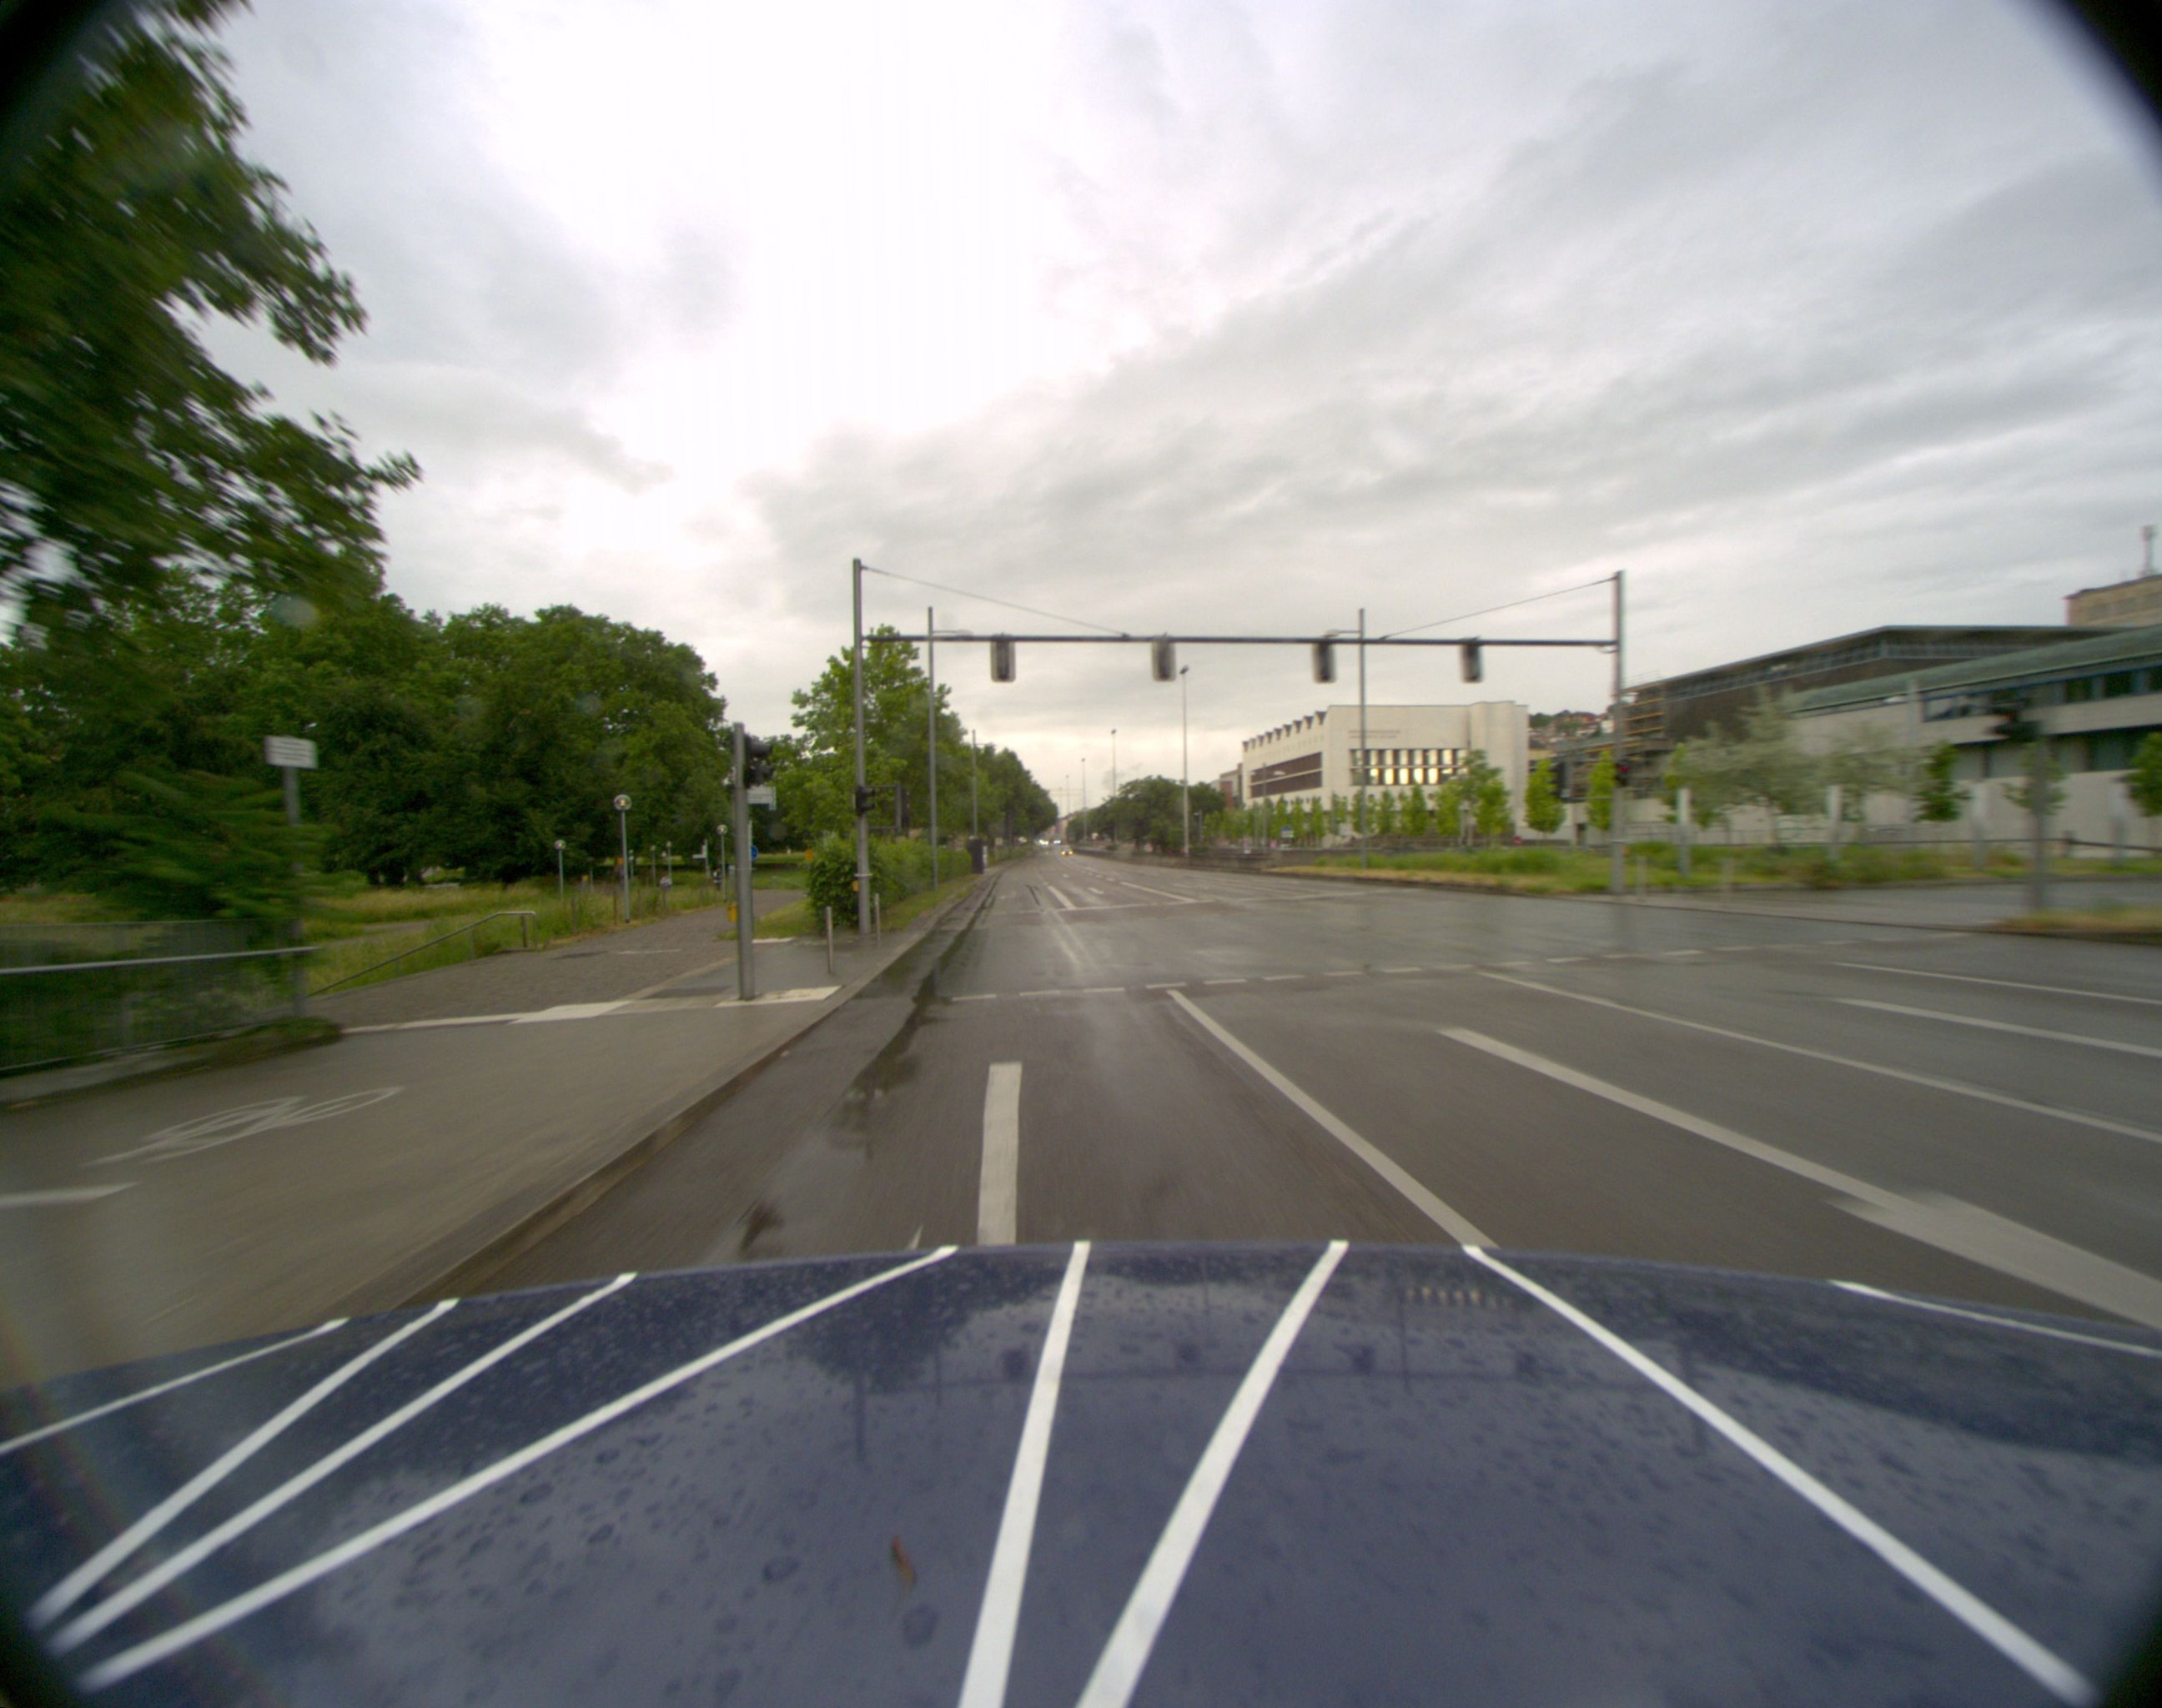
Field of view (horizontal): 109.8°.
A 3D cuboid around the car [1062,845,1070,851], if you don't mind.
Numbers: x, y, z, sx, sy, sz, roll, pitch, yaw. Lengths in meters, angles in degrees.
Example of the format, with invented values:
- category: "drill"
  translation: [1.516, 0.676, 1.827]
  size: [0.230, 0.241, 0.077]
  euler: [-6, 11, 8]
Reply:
- category: "car"
  translation: [-2.898, -1.240, 150.332]
  size: [1.518, 1.138, 2.759]
  euler: [-3, 2, 0]

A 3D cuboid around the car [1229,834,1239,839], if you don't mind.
- category: "car"
  translation: [26.582, -3.078, 131.791]
  size: [0.822, 0.741, 2.551]
  euler: [-3, 2, -7]

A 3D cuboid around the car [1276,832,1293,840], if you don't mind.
- category: "car"
  translation: [30.650, -2.780, 114.390]
  size: [1.444, 1.108, 3.018]
  euler: [-3, 2, -4]

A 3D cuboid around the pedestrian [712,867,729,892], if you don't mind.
- category: "pedestrian"
  translation: [-23.728, 1.659, 49.991]
  size: [0.672, 1.560, 0.726]
  euler: [-2, 3, 5]

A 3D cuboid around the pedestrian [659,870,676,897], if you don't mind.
- category: "pedestrian"
  translation: [-25.352, 1.811, 46.595]
  size: [0.727, 1.560, 0.671]
  euler: [-4, 3, -33]
